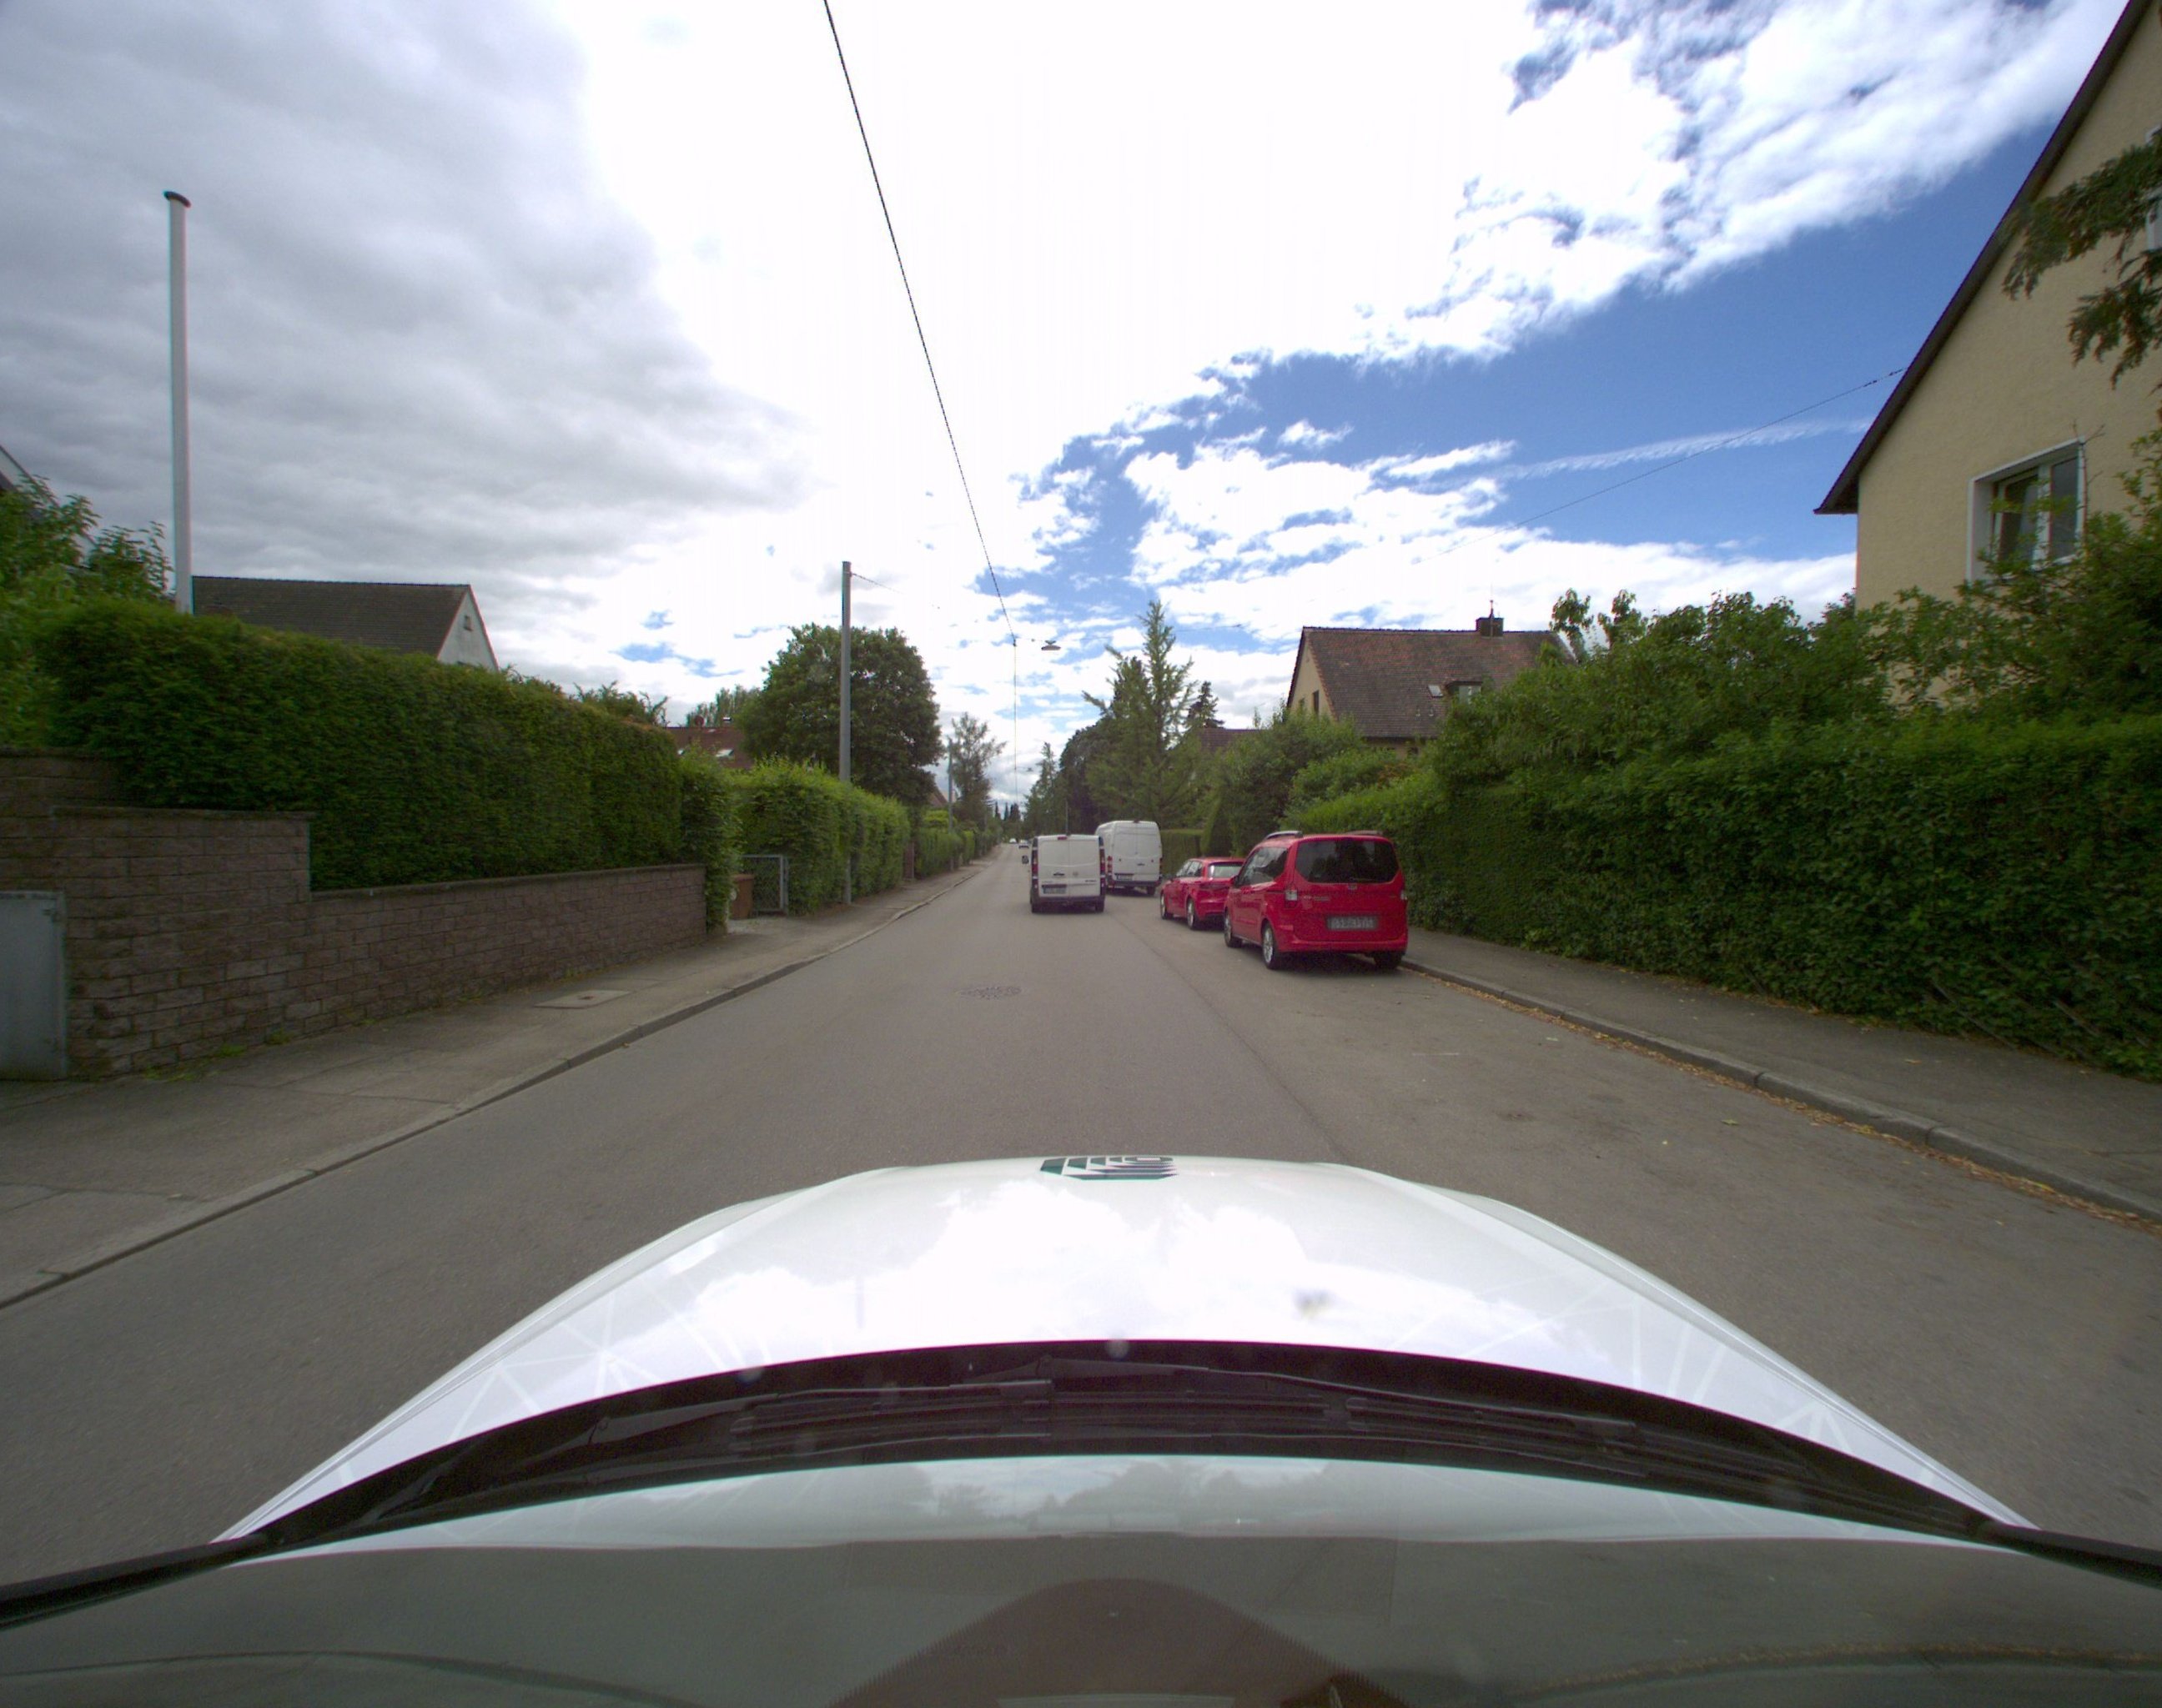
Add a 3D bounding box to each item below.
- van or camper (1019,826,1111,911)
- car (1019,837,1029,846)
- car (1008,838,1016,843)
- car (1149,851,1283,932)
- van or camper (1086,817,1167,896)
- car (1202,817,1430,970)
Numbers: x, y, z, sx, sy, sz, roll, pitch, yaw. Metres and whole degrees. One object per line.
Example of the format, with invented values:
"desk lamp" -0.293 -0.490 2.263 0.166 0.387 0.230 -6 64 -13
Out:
"van or camper" -0.557 0.269 22.022 1.923 2.013 4.816 0 2 -8
"car" -11.153 -2.433 158.530 1.774 1.651 3.637 -1 2 -6
"car" -19.557 -3.896 230.996 1.682 1.475 3.585 -1 1 3
"car" 2.704 0.685 17.302 1.711 1.467 4.258 0 1 -7
"van or camper" 1.583 0.072 31.130 2.064 2.674 6.314 1 0 -6
"car" 3.166 0.436 12.139 1.757 1.797 4.943 0 1 -3
